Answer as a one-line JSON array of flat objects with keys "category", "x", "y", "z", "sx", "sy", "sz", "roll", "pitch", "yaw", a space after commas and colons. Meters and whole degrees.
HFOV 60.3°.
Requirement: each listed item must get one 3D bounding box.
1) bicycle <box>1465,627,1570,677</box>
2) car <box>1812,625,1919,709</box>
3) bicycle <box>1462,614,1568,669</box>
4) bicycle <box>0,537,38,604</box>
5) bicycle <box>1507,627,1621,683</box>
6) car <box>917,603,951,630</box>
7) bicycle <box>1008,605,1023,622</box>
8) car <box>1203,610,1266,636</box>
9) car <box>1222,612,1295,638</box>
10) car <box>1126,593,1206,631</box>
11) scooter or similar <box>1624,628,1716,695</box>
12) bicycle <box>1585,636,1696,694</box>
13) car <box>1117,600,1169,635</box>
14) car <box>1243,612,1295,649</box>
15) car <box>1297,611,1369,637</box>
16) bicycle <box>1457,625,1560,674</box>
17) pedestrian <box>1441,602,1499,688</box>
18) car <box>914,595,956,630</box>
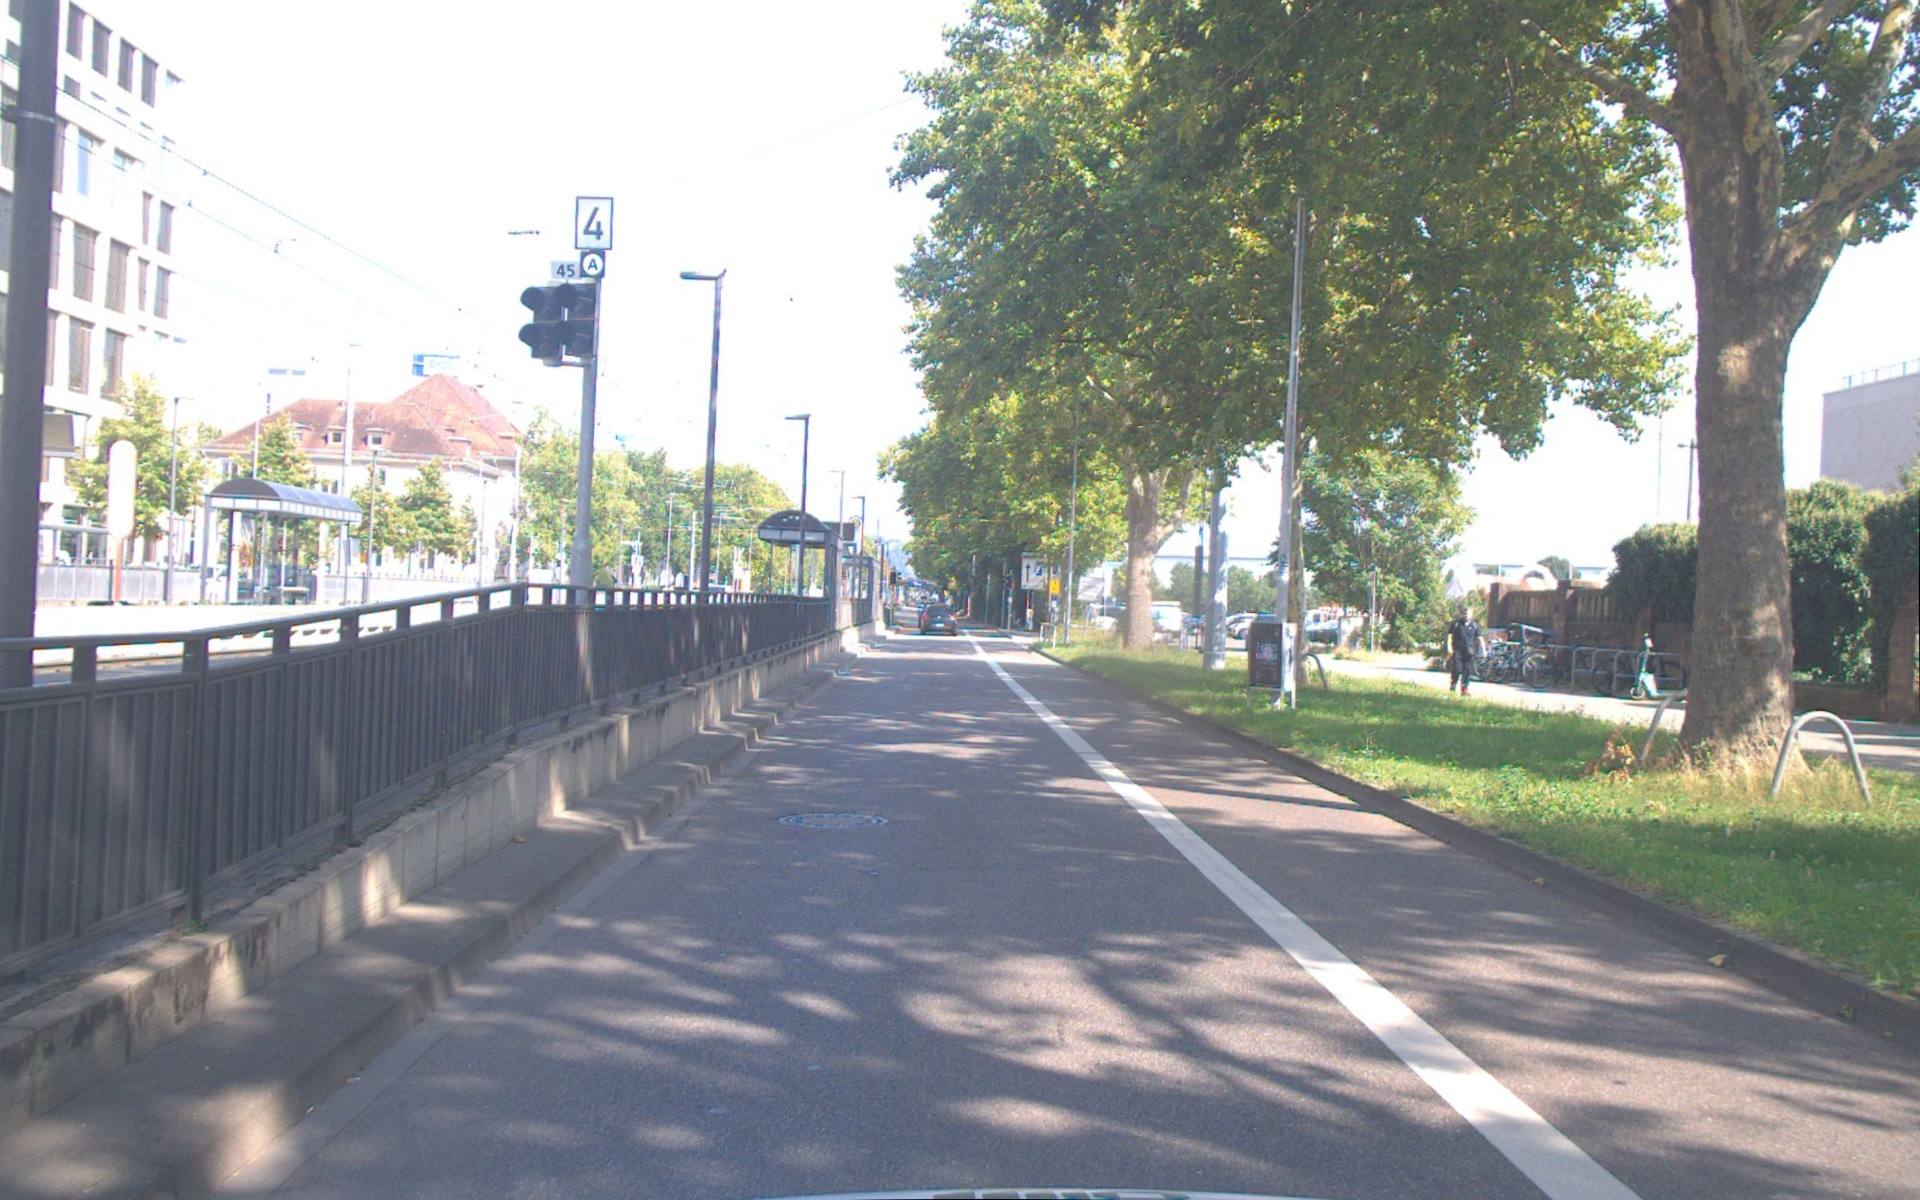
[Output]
[{"category": "bicycle", "x": 12.576, "y": 1.170, "z": 37.327, "sx": 2.128, "sy": 1.095, "sz": 0.743, "roll": 0, "pitch": -1, "yaw": 2}, {"category": "car", "x": 19.516, "y": 1.334, "z": 32.282, "sx": 4.806, "sy": 1.504, "sz": 2.181, "roll": 2, "pitch": 0, "yaw": -11}, {"category": "bicycle", "x": 13.295, "y": 0.989, "z": 39.665, "sx": 2.199, "sy": 1.299, "sz": 0.998, "roll": 0, "pitch": -1, "yaw": -2}, {"category": "bicycle", "x": -17.099, "y": -0.536, "z": 29.259, "sx": 0.461, "sy": 1.167, "sz": 1.485, "roll": 2, "pitch": -1, "yaw": 13}, {"category": "bicycle", "x": 12.819, "y": 1.167, "z": 35.123, "sx": 2.130, "sy": 1.095, "sz": 0.743, "roll": 2, "pitch": 0, "yaw": -3}, {"category": "car", "x": -1.556, "y": 0.957, "z": 97.435, "sx": 1.934, "sy": 1.564, "sz": 3.998, "roll": -1, "pitch": 0, "yaw": -2}, {"category": "bicycle", "x": 3.454, "y": 0.844, "z": 102.864, "sx": 0.598, "sy": 1.039, "sz": 2.400, "roll": 2, "pitch": 0, "yaw": -5}, {"category": "car", "x": 20.705, "y": 1.724, "z": 124.792, "sx": 4.258, "sy": 1.742, "sz": 1.946, "roll": 3, "pitch": -1, "yaw": -3}, {"category": "car", "x": 19.186, "y": 1.602, "z": 106.367, "sx": 4.258, "sy": 1.489, "sz": 1.946, "roll": 3, "pitch": -1, "yaw": -3}, {"category": "car", "x": 10.880, "y": 0.633, "z": 87.555, "sx": 4.018, "sy": 1.952, "sz": 1.848, "roll": 1, "pitch": 0, "yaw": 1}, {"category": "scooter or similar", "x": 13.226, "y": 1.144, "z": 30.827, "sx": 1.474, "sy": 1.212, "sz": 0.539, "roll": 1, "pitch": -1, "yaw": 2}, {"category": "bicycle", "x": 13.163, "y": 1.248, "z": 32.015, "sx": 1.830, "sy": 1.024, "sz": 0.734, "roll": 2, "pitch": 0, "yaw": -3}, {"category": "car", "x": 8.156, "y": 0.760, "z": 74.019, "sx": 1.693, "sy": 1.474, "sz": 4.549, "roll": 1, "pitch": 0, "yaw": -1}, {"category": "car", "x": 14.094, "y": 1.370, "z": 75.507, "sx": 1.575, "sy": 1.603, "sz": 3.795, "roll": 1, "pitch": 0, "yaw": -1}, {"category": "car", "x": 24.659, "y": 1.596, "z": 109.497, "sx": 4.258, "sy": 1.489, "sz": 1.946, "roll": 3, "pitch": -1, "yaw": -3}, {"category": "bicycle", "x": 12.649, "y": 1.131, "z": 38.151, "sx": 2.128, "sy": 1.095, "sz": 0.743, "roll": 0, "pitch": -1, "yaw": 2}, {"category": "pedestrian", "x": 9.420, "y": 0.825, "z": 30.584, "sx": 0.768, "sy": 1.541, "sz": 0.786, "roll": 2, "pitch": 0, "yaw": -2}, {"category": "car", "x": -1.202, "y": 0.573, "z": 78.191, "sx": 1.869, "sy": 1.564, "sz": 3.998, "roll": 1, "pitch": 0, "yaw": -2}]
